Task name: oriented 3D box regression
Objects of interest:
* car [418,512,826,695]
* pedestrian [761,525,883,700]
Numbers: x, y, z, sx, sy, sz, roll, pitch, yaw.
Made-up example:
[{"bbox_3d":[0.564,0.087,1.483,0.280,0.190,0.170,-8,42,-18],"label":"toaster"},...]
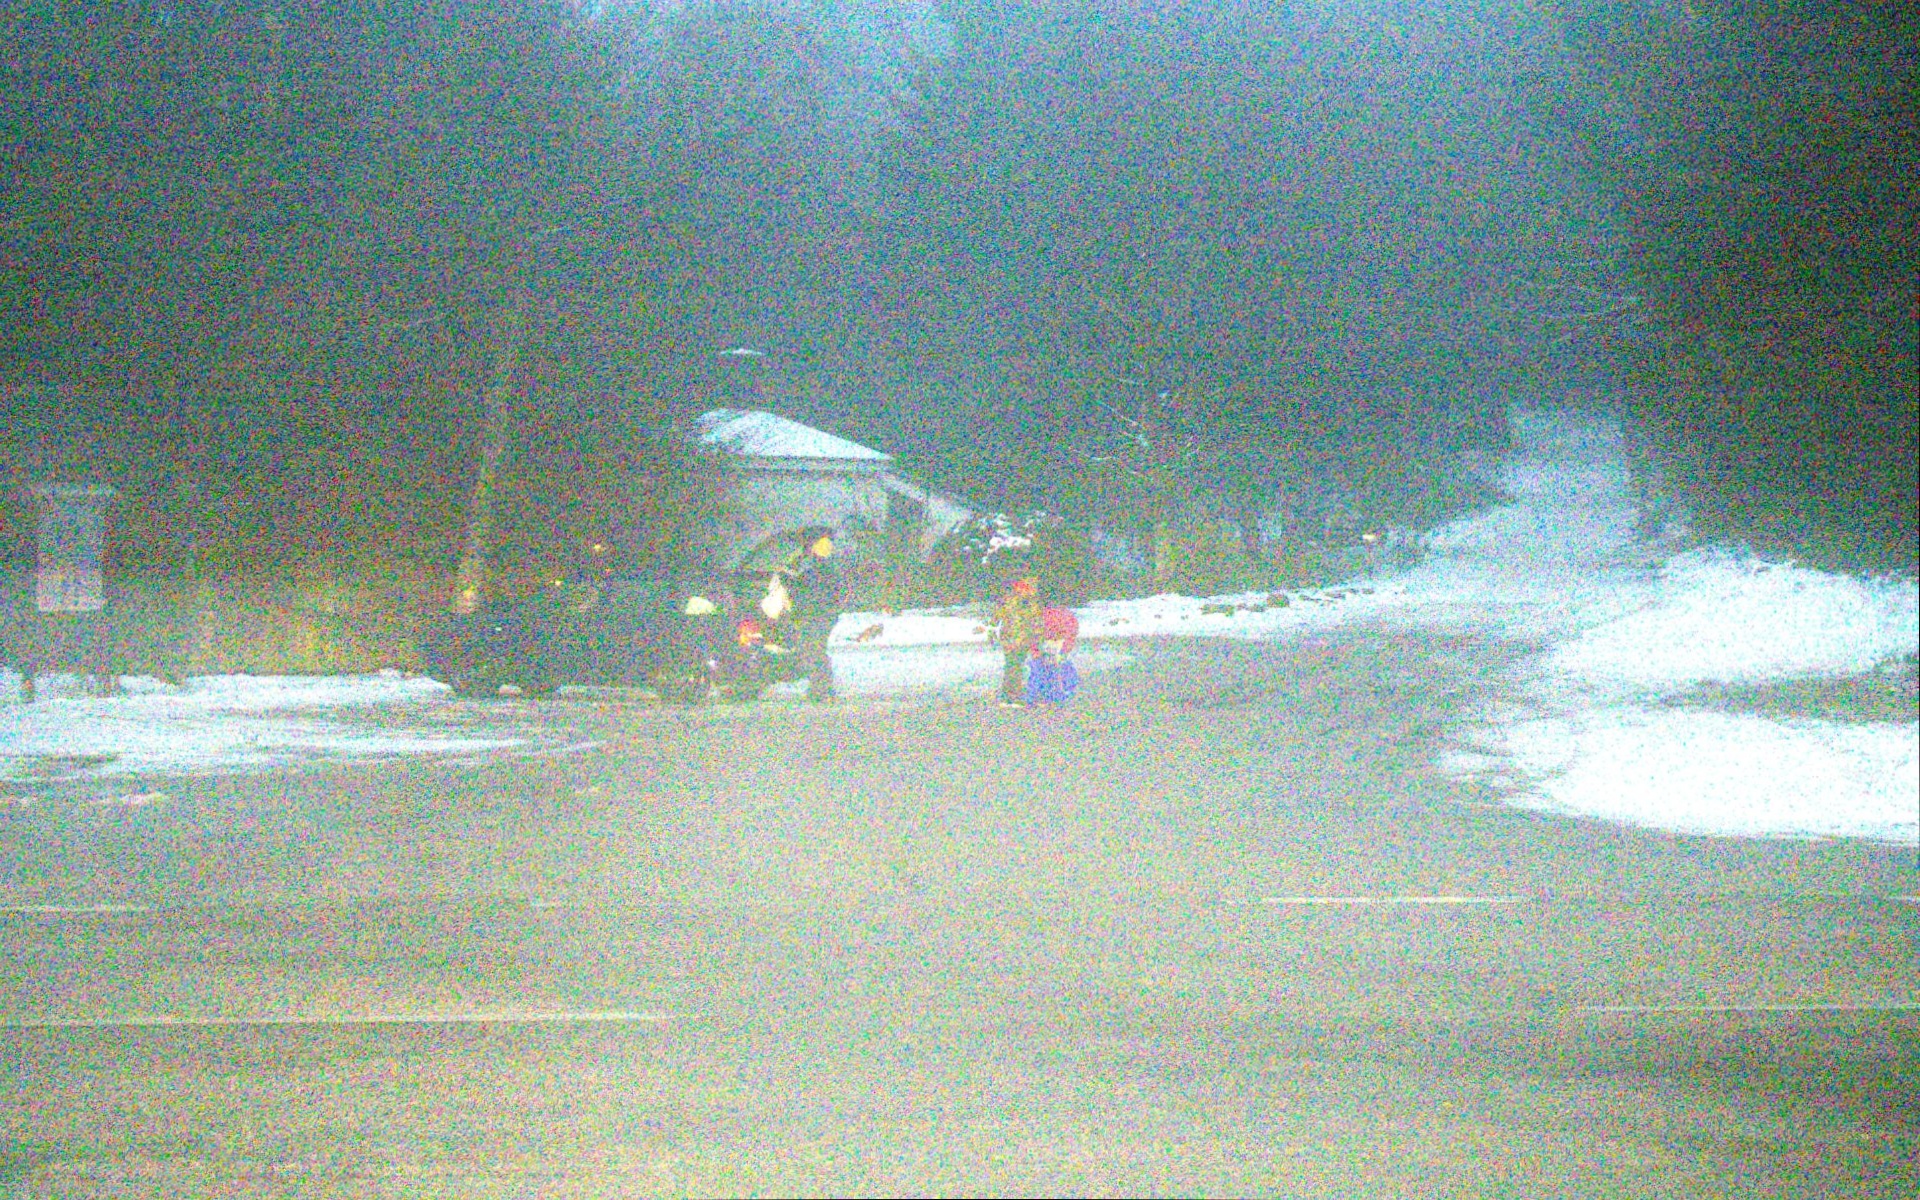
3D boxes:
[{"bbox_3d":[-3.675,0.032,37.635,3.950,1.875,1.998,1,0,16],"label":"car"},{"bbox_3d":[-1.461,0.134,36.484,0.961,1.822,0.924,1,-1,21],"label":"pedestrian"}]
